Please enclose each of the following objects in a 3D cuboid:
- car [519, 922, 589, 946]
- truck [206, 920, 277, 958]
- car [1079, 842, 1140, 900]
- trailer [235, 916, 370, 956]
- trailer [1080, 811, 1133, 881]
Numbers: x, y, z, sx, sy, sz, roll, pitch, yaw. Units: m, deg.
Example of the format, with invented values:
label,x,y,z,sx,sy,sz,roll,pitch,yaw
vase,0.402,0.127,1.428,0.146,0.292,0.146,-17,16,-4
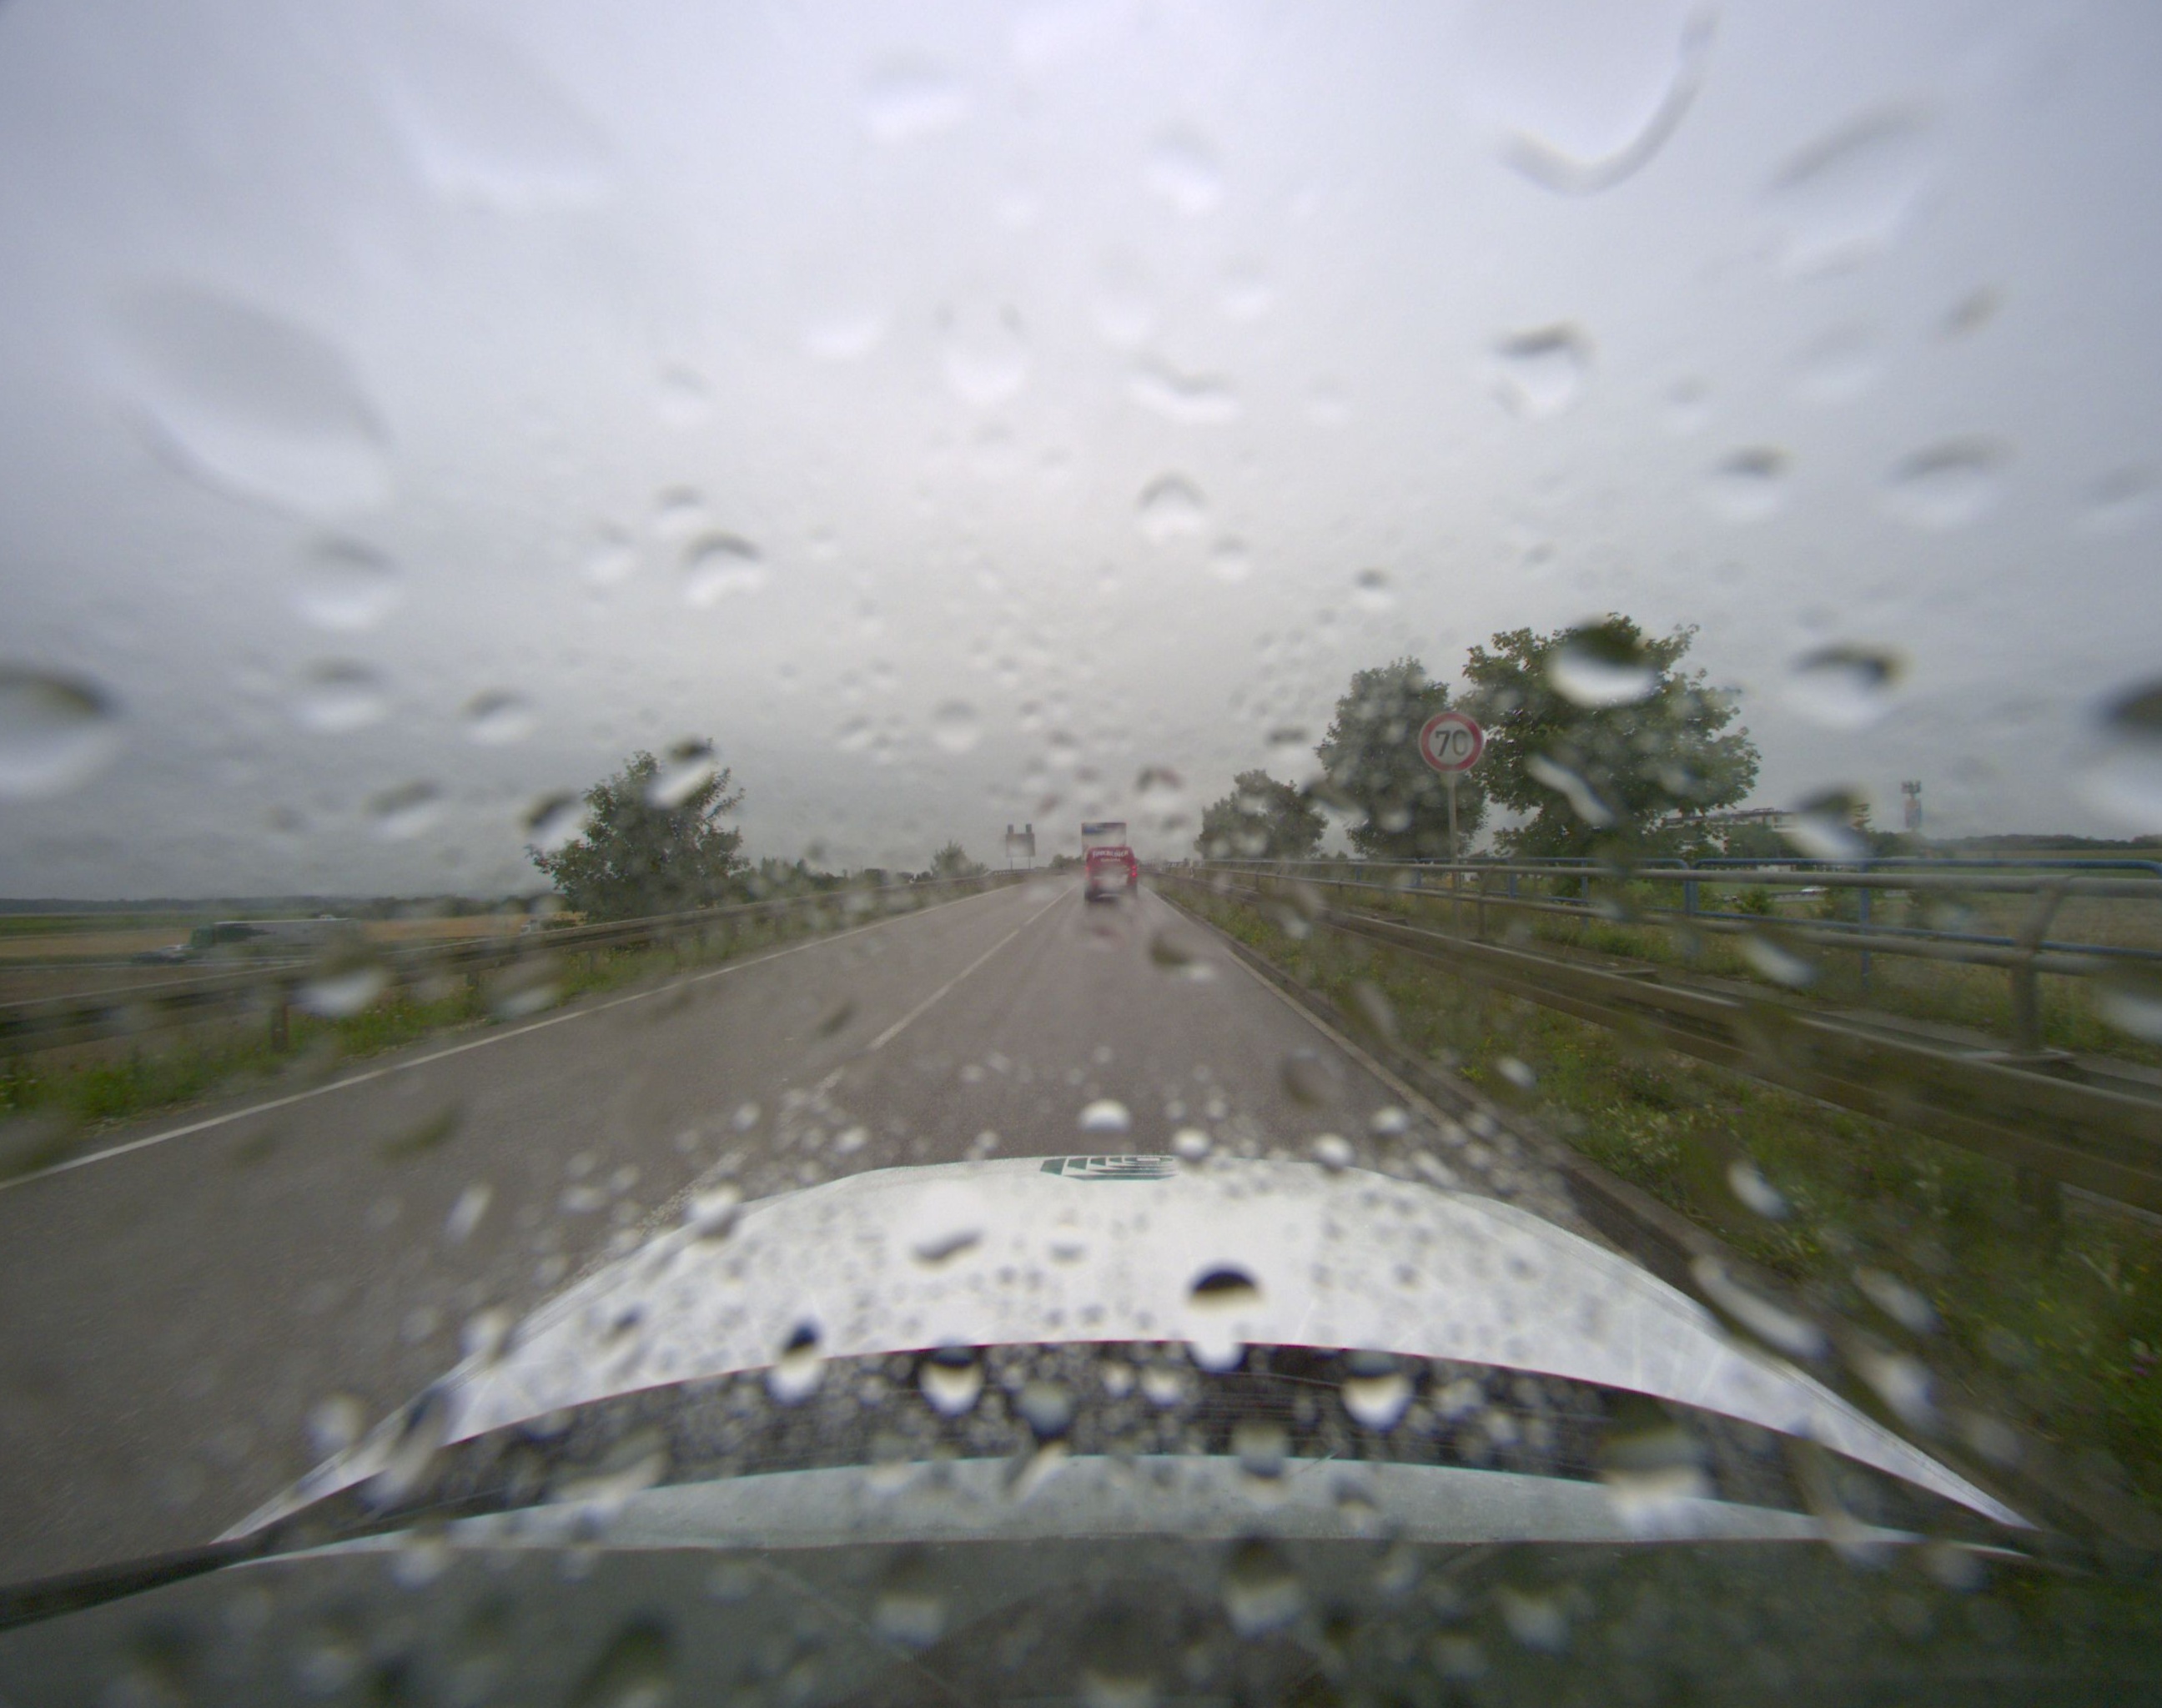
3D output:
label,x,y,z,sx,sy,sz,roll,pitch,yaw
car,-75.419,11.432,116.767,7.821,2.969,3.004,-1,-2,-10
truck,-112.565,11.343,109.287,5.928,4.672,3.004,-1,-2,-10
car,1.102,0.589,29.979,1.985,1.870,4.983,-3,-1,3
trailer,-105.457,11.067,110.561,13.859,4.672,3.004,-1,-2,-10
trailer,1.721,-0.374,50.597,2.819,3.819,9.723,-2,-1,4
